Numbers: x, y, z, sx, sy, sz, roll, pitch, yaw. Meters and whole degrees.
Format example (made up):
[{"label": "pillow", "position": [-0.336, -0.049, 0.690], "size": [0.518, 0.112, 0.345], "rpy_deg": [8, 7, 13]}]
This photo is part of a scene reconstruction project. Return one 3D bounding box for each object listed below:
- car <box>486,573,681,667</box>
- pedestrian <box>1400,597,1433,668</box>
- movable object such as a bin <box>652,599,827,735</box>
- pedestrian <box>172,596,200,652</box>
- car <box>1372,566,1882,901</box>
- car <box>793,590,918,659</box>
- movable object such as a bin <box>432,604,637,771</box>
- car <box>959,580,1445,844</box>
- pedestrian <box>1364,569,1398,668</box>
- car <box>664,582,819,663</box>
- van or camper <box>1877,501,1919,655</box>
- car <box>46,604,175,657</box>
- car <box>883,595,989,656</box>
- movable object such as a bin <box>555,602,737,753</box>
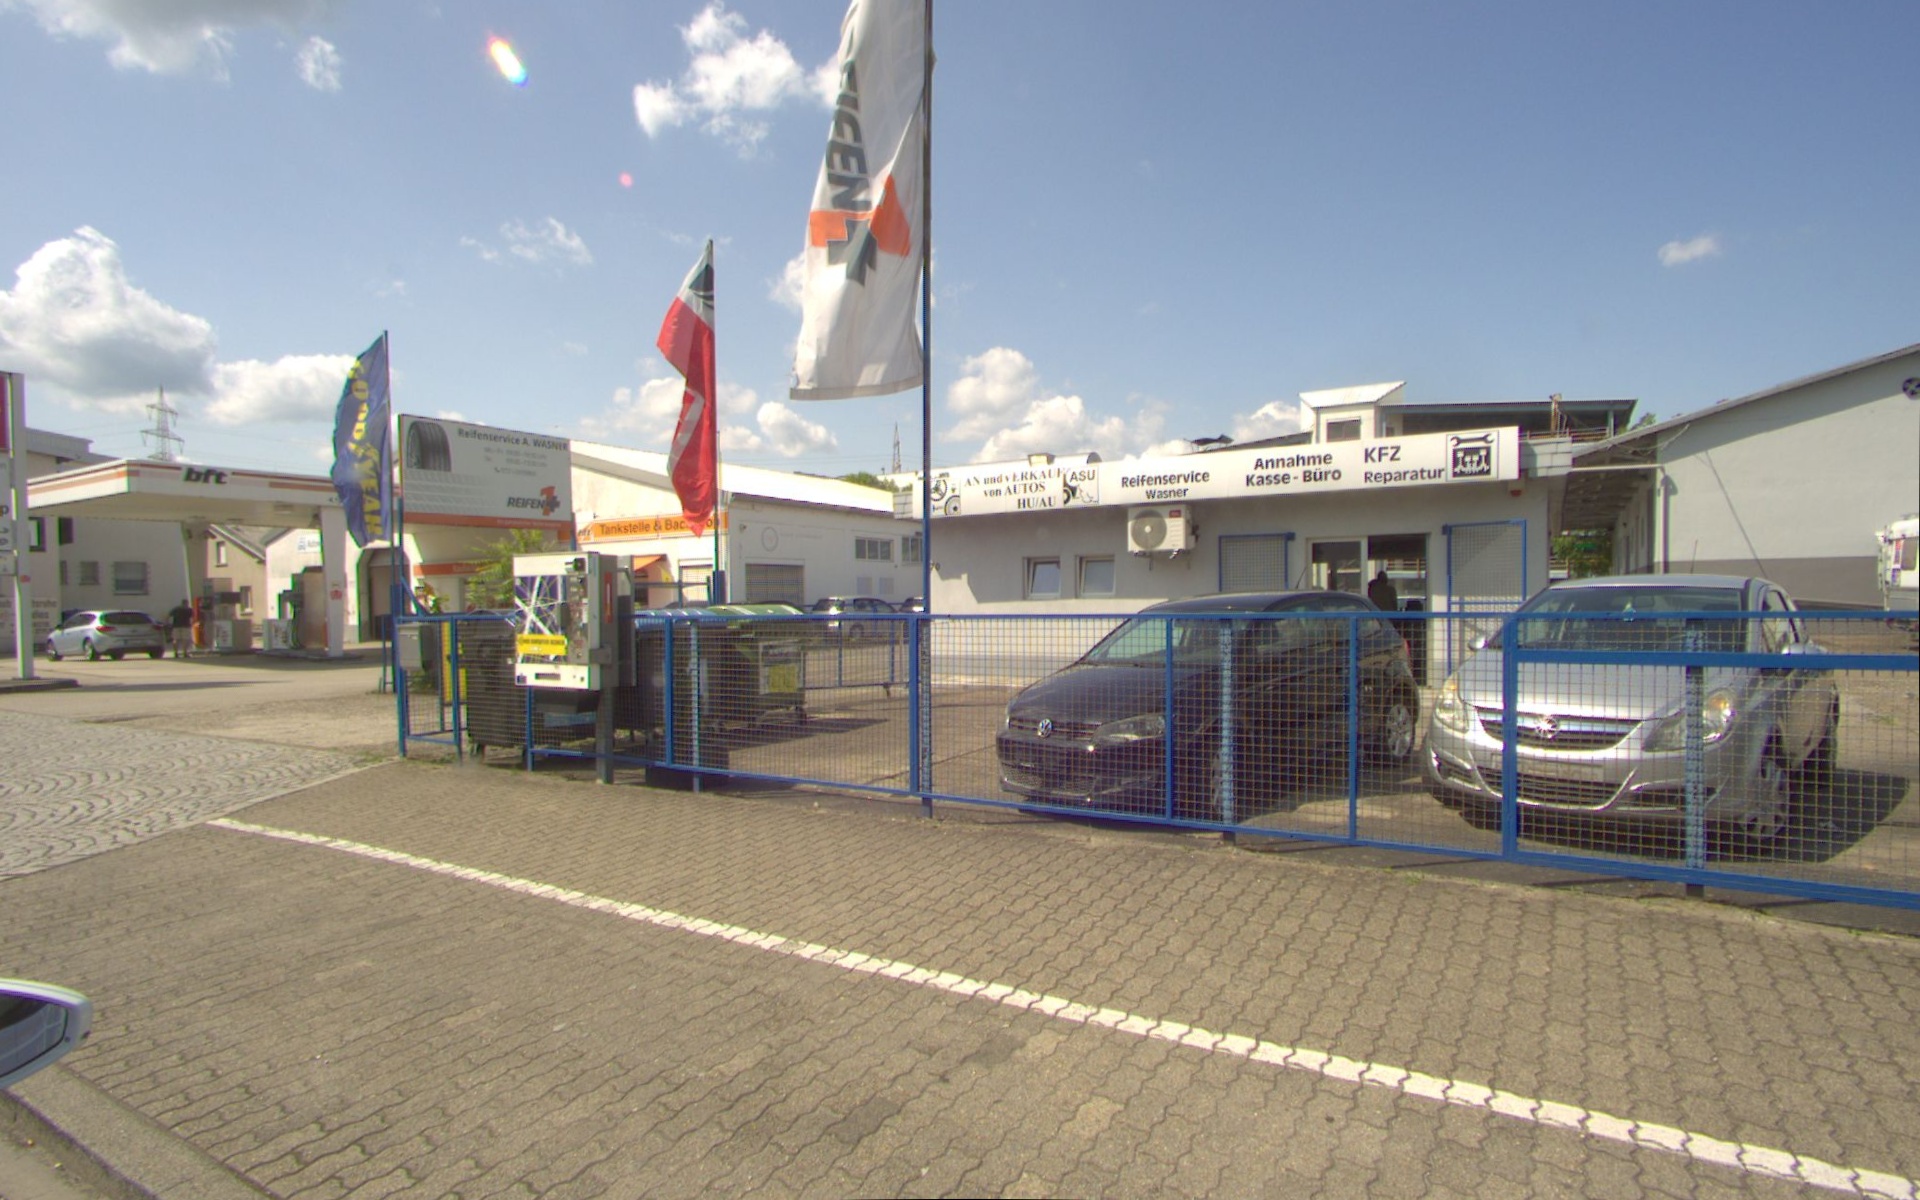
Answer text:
[{"label": "car", "position": [-8.907, 0.434, 23.981], "size": [1.971, 2.040, 3.979], "rpy_deg": [0, 0, 32]}, {"label": "pedestrian", "position": [7.986, 0.560, 17.524], "size": [0.480, 1.229, 0.499], "rpy_deg": [0, 1, 30]}, {"label": "movable object such as a bin", "position": [-2.599, 0.741, 11.899], "size": [1.433, 1.473, 1.427], "rpy_deg": [0, 1, 31]}, {"label": "pedestrian", "position": [-23.733, 0.728, 30.714], "size": [0.628, 1.705, 0.618], "rpy_deg": [-1, 1, -36]}, {"label": "car", "position": [4.509, 0.585, 6.510], "size": [4.104, 1.499, 1.787], "rpy_deg": [-1, 0, -42]}, {"label": "car", "position": [-3.258, 0.727, 31.986], "size": [1.971, 2.040, 3.979], "rpy_deg": [0, 0, 32]}, {"label": "movable object such as a bin", "position": [-4.125, 0.782, 9.744], "size": [1.434, 1.473, 1.224], "rpy_deg": [0, 1, 31]}, {"label": "car", "position": [2.021, 0.624, 7.647], "size": [3.962, 1.499, 1.705], "rpy_deg": [-1, 1, -43]}, {"label": "pedestrian", "position": [7.378, 0.322, 17.547], "size": [0.480, 1.710, 0.499], "rpy_deg": [0, 1, 30]}, {"label": "car", "position": [-5.941, 0.570, 27.635], "size": [1.971, 2.040, 3.979], "rpy_deg": [0, 0, 32]}, {"label": "van or camper", "position": [21.354, -0.460, 19.320], "size": [4.983, 3.002, 2.276], "rpy_deg": [0, 1, 31]}, {"label": "car", "position": [-25.827, 0.888, 30.433], "size": [3.950, 1.499, 1.829], "rpy_deg": [-1, 1, 31]}, {"label": "car", "position": [-0.798, 0.862, 35.876], "size": [1.971, 2.040, 3.979], "rpy_deg": [0, 0, 32]}, {"label": "movable object such as a bin", "position": [-3.365, 0.773, 10.784], "size": [1.434, 1.473, 1.224], "rpy_deg": [0, 1, 31]}]
